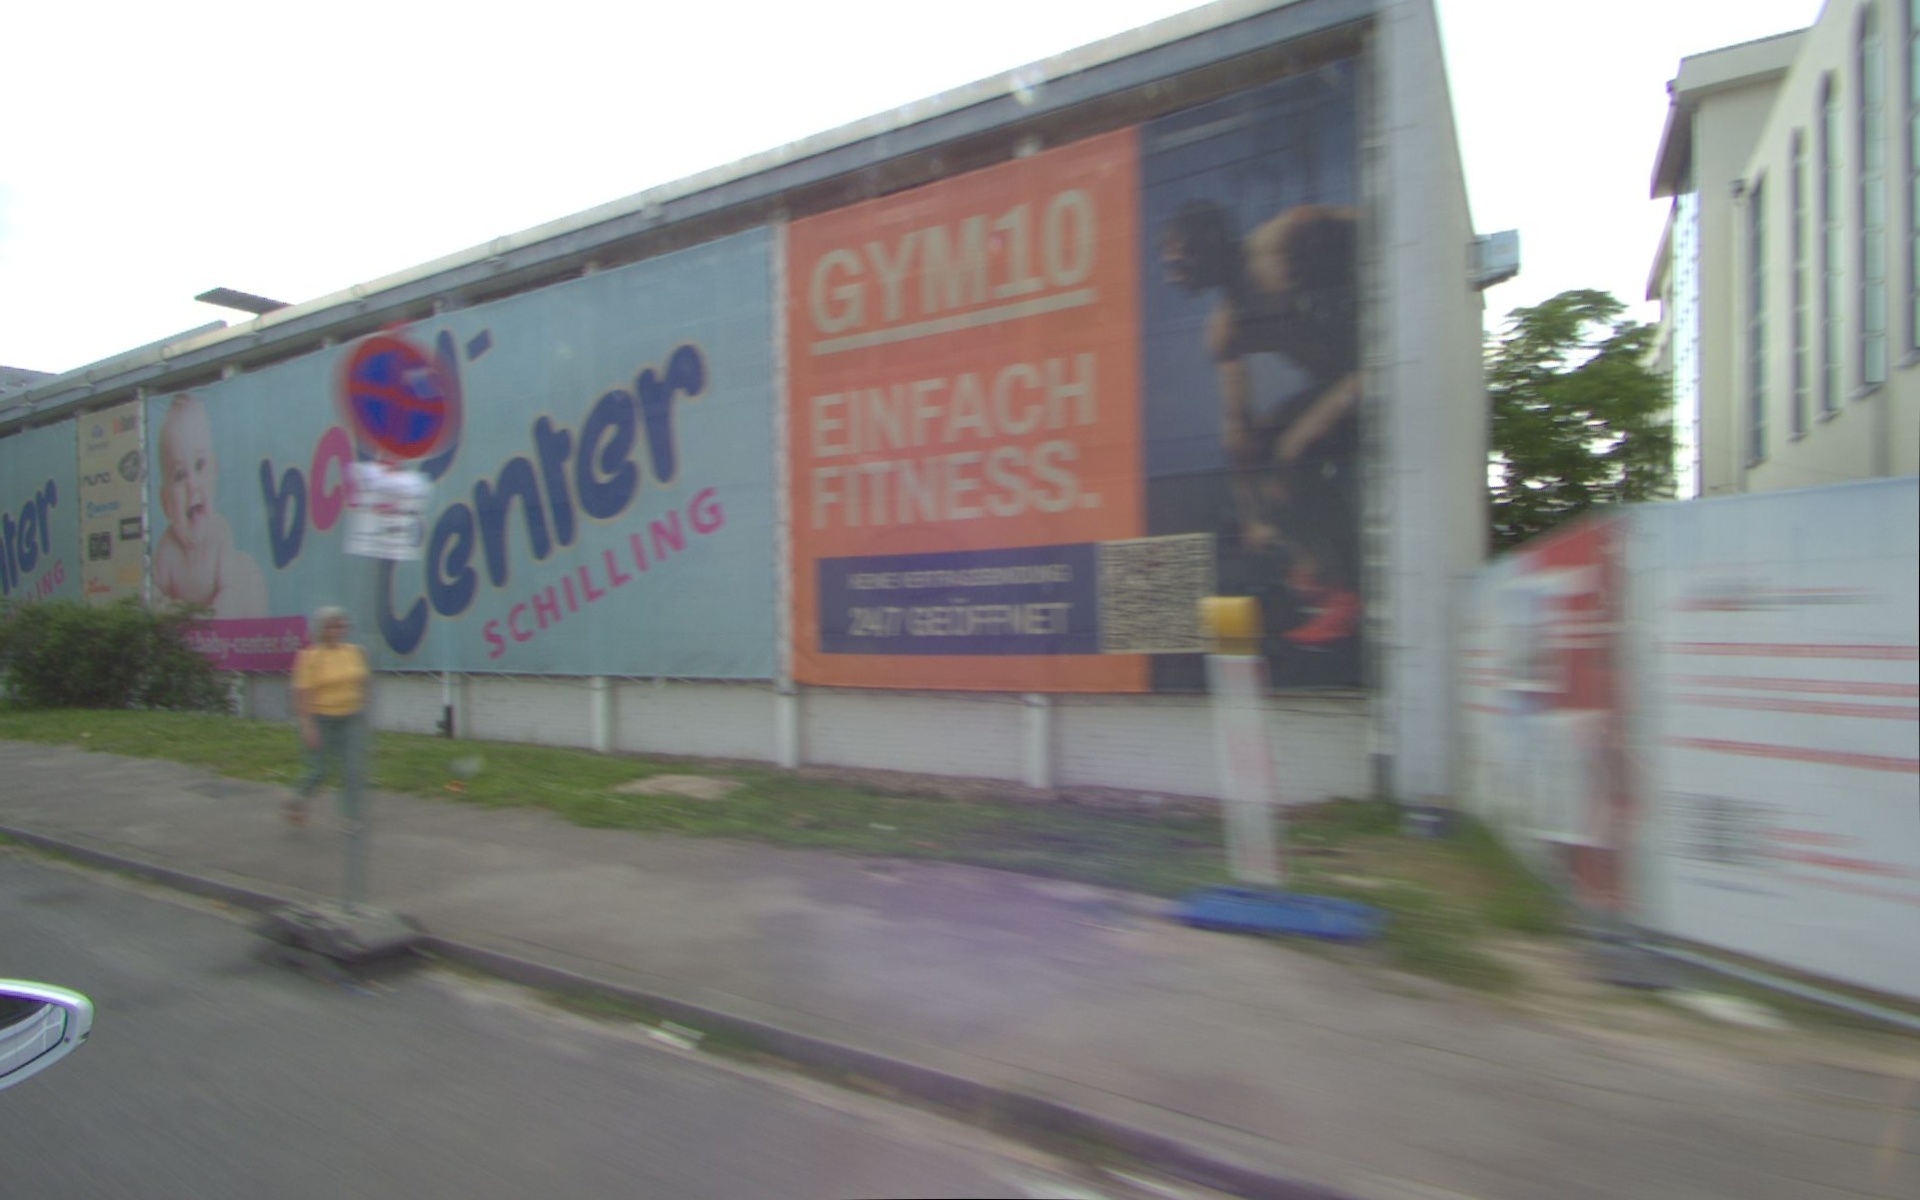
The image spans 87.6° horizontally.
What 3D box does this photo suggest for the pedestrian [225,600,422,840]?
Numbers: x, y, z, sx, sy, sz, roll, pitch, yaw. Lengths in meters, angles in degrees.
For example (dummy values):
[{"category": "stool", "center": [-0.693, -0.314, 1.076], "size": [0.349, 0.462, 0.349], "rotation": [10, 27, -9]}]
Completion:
[{"category": "pedestrian", "center": [-4.465, 0.792, 7.036], "size": [1.112, 1.554, 0.681], "rotation": [-1, 0, 26]}]
